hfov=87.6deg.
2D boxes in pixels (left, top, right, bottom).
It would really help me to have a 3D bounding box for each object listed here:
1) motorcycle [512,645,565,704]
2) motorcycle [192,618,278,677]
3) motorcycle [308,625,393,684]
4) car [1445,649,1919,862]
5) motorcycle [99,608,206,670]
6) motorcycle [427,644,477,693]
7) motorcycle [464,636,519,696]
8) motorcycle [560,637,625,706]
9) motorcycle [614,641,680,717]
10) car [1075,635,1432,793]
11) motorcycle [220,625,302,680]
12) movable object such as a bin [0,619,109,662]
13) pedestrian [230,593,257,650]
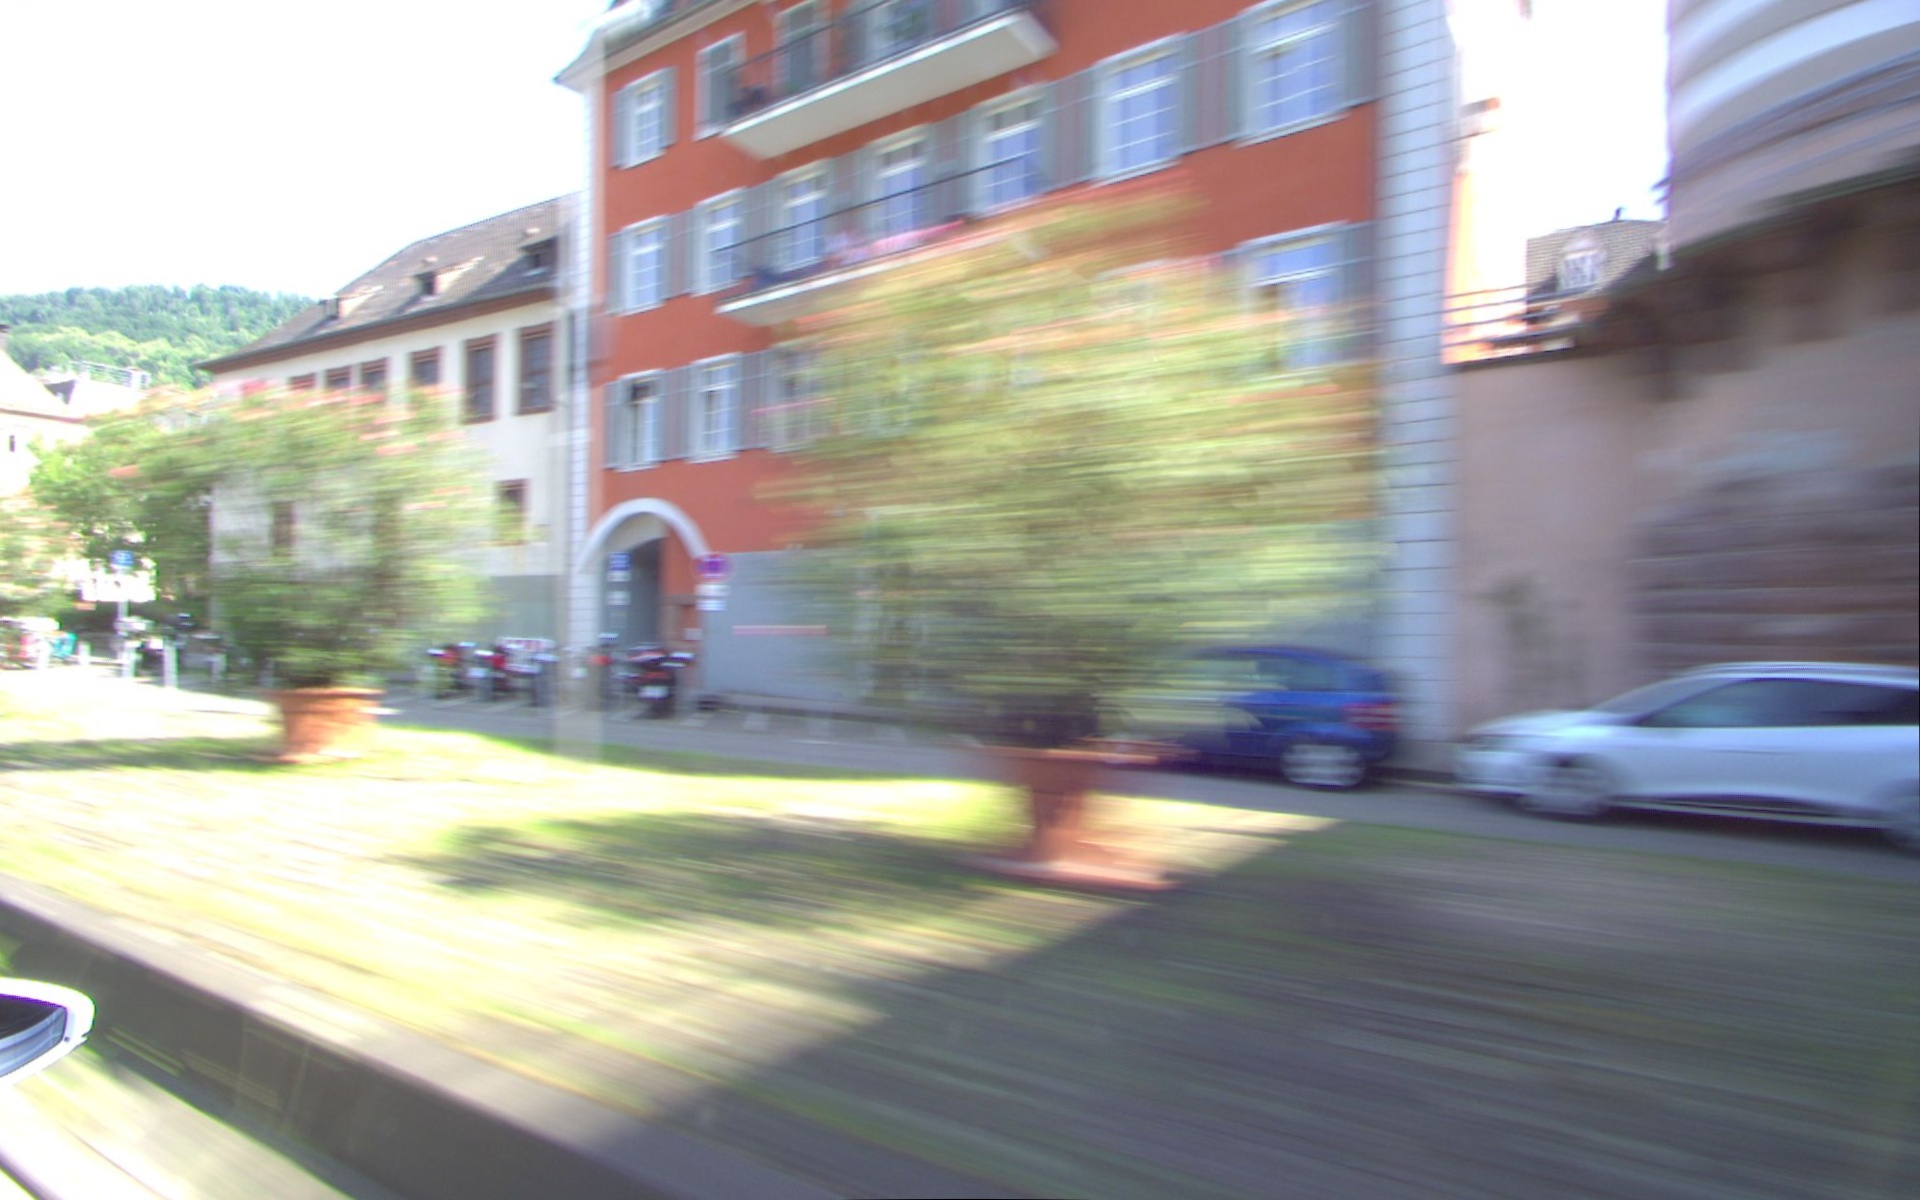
[{"bbox_3d":[-8.667,1.499,20.656,0.617,1.090,2.196,1,-1,-13],"label":"motorcycle"},{"bbox_3d":[-18.126,1.161,25.102,0.616,1.269,2.234,5,2,-5],"label":"motorcycle"},{"bbox_3d":[-14.039,1.232,23.133,0.768,1.283,2.183,1,-1,-5],"label":"motorcycle"},{"bbox_3d":[6.939,1.264,9.064,4.358,1.512,1.887,-1,-1,36],"label":"car"},{"bbox_3d":[-21.359,1.016,26.573,1.033,1.553,2.497,1,-1,-8],"label":"motorcycle"},{"bbox_3d":[-11.224,1.497,22.161,0.537,0.999,1.930,1,-1,-13],"label":"motorcycle"},{"bbox_3d":[-9.982,1.378,21.400,0.617,1.162,2.196,1,-1,-13],"label":"motorcycle"},{"bbox_3d":[-7.298,1.386,19.991,0.827,1.249,2.152,1,-1,-10],"label":"motorcycle"},{"bbox_3d":[-5.782,1.429,18.641,0.827,1.249,2.542,1,-1,-10],"label":"motorcycle"},{"bbox_3d":[3.420,1.233,11.985,3.765,1.562,1.665,-1,-3,40],"label":"car"},{"bbox_3d":[-16.967,1.247,24.375,0.616,1.283,2.198,1,-1,-5],"label":"motorcycle"},{"bbox_3d":[-25.836,1.110,28.408,1.235,1.125,2.954,1,-1,-10],"label":"movable object such as a bin"},{"bbox_3d":[-23.110,0.697,32.284,0.609,1.846,0.494,-1,-1,29],"label":"pedestrian"}]
